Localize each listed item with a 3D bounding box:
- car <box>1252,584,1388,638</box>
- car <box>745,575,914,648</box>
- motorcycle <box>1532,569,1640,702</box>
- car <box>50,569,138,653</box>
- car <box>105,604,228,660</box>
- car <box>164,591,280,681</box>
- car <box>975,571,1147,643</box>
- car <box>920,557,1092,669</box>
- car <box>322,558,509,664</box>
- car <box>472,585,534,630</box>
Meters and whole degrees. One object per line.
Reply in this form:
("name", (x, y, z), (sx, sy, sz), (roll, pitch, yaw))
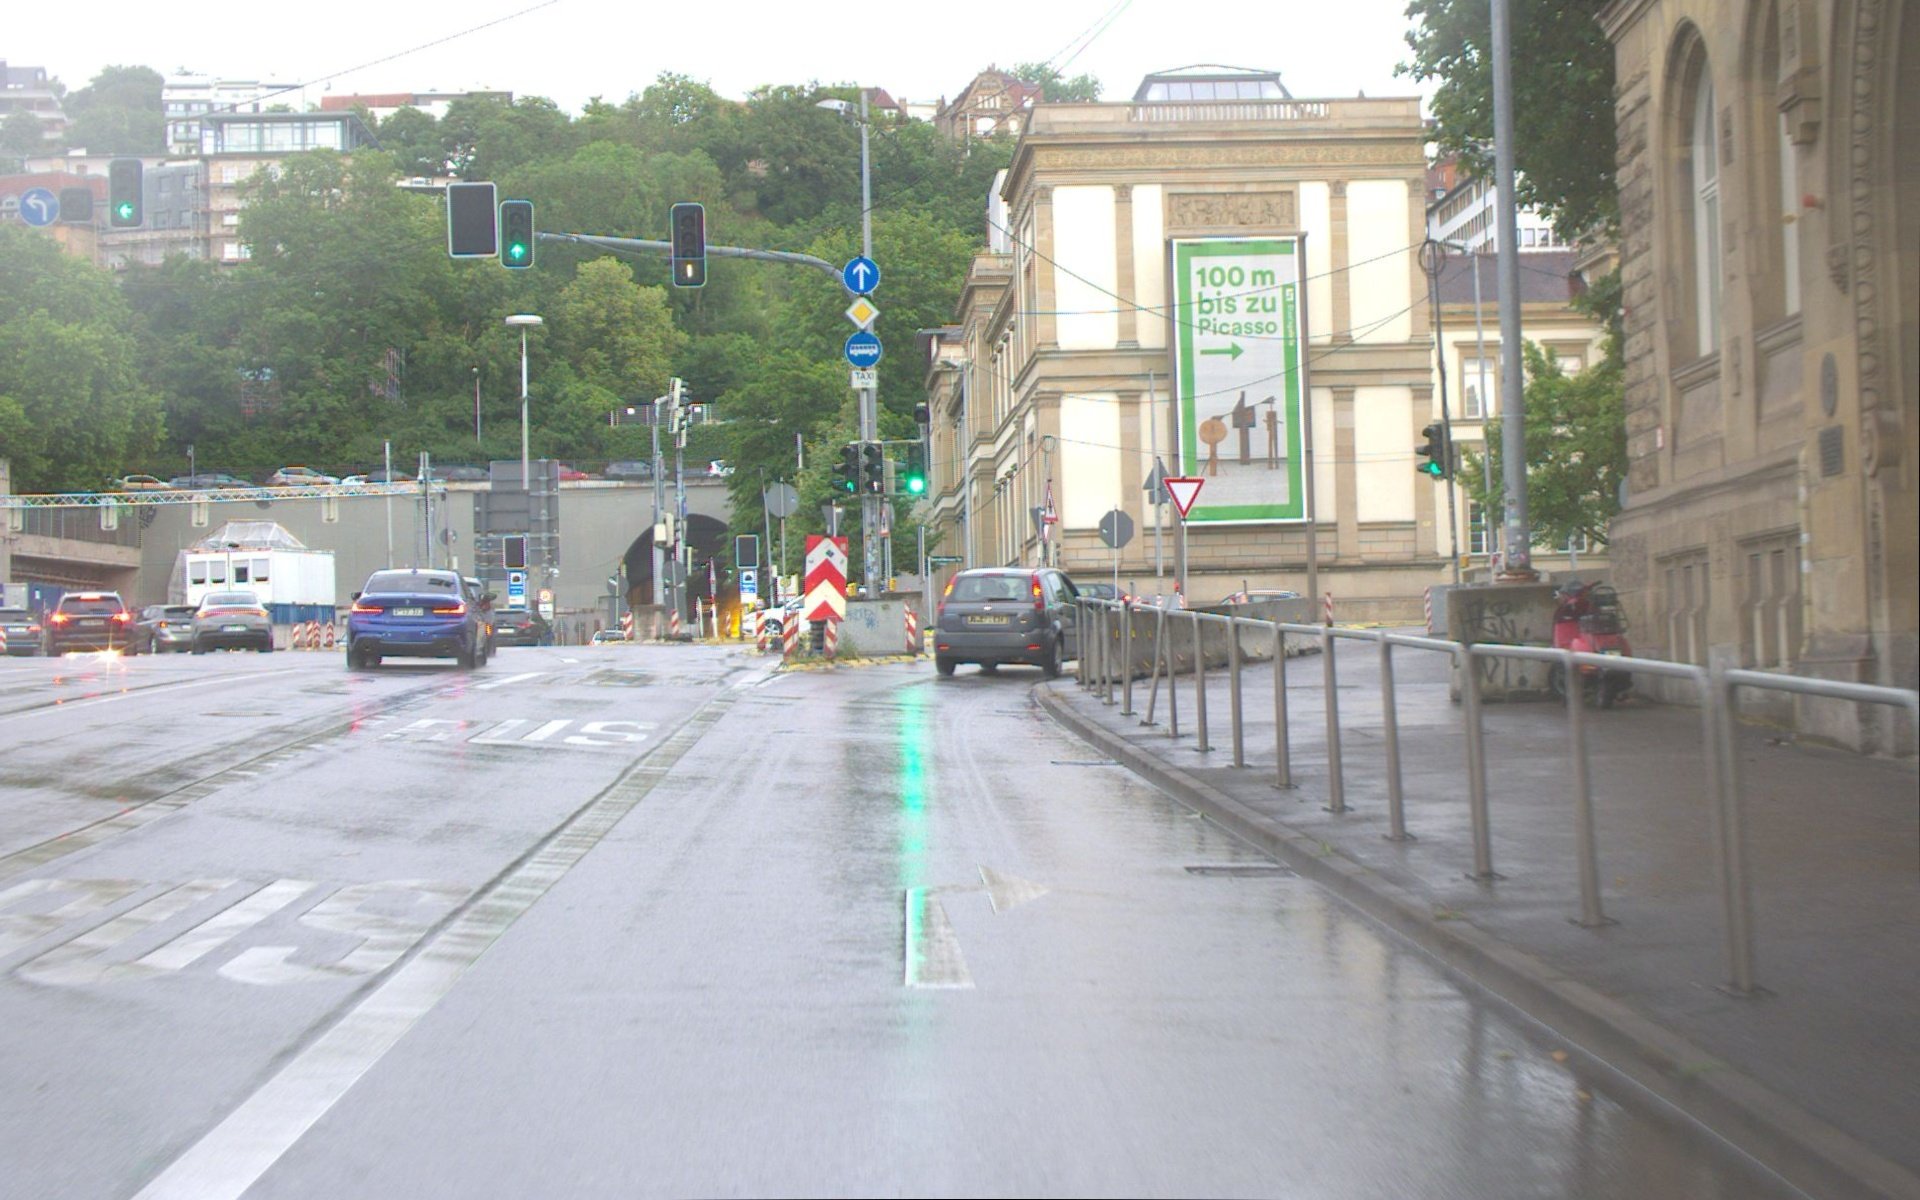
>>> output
("car", (11.623, 0.351, 111.053), (4.180, 1.695, 1.823), (0, 1, -1))
("car", (-3.704, 0.324, 97.086), (4.625, 2.007, 2.000), (0, 1, -6))
("motorcycle", (5.556, 0.302, 30.594), (0.546, 1.134, 1.899), (-1, 1, -2))
("car", (-18.663, 0.213, 74.191), (1.775, 1.744, 4.001), (0, 1, -14))
("car", (-21.833, 0.861, 94.516), (1.776, 1.459, 3.999), (-1, 1, -38))
("car", (-17.333, 0.812, 80.637), (1.993, 2.007, 4.296), (0, 1, -21))
("car", (2.866, 0.183, 97.812), (4.674, 2.007, 2.000), (0, 1, -6))
("car", (0.659, 0.143, 46.043), (1.671, 1.422, 3.756), (1, 1, 11))
("car", (-7.860, 0.126, 49.962), (1.993, 1.433, 4.000), (-1, 1, 1))
("car", (-14.268, 0.221, 107.484), (1.493, 1.349, 4.000), (1, 1, -1))
